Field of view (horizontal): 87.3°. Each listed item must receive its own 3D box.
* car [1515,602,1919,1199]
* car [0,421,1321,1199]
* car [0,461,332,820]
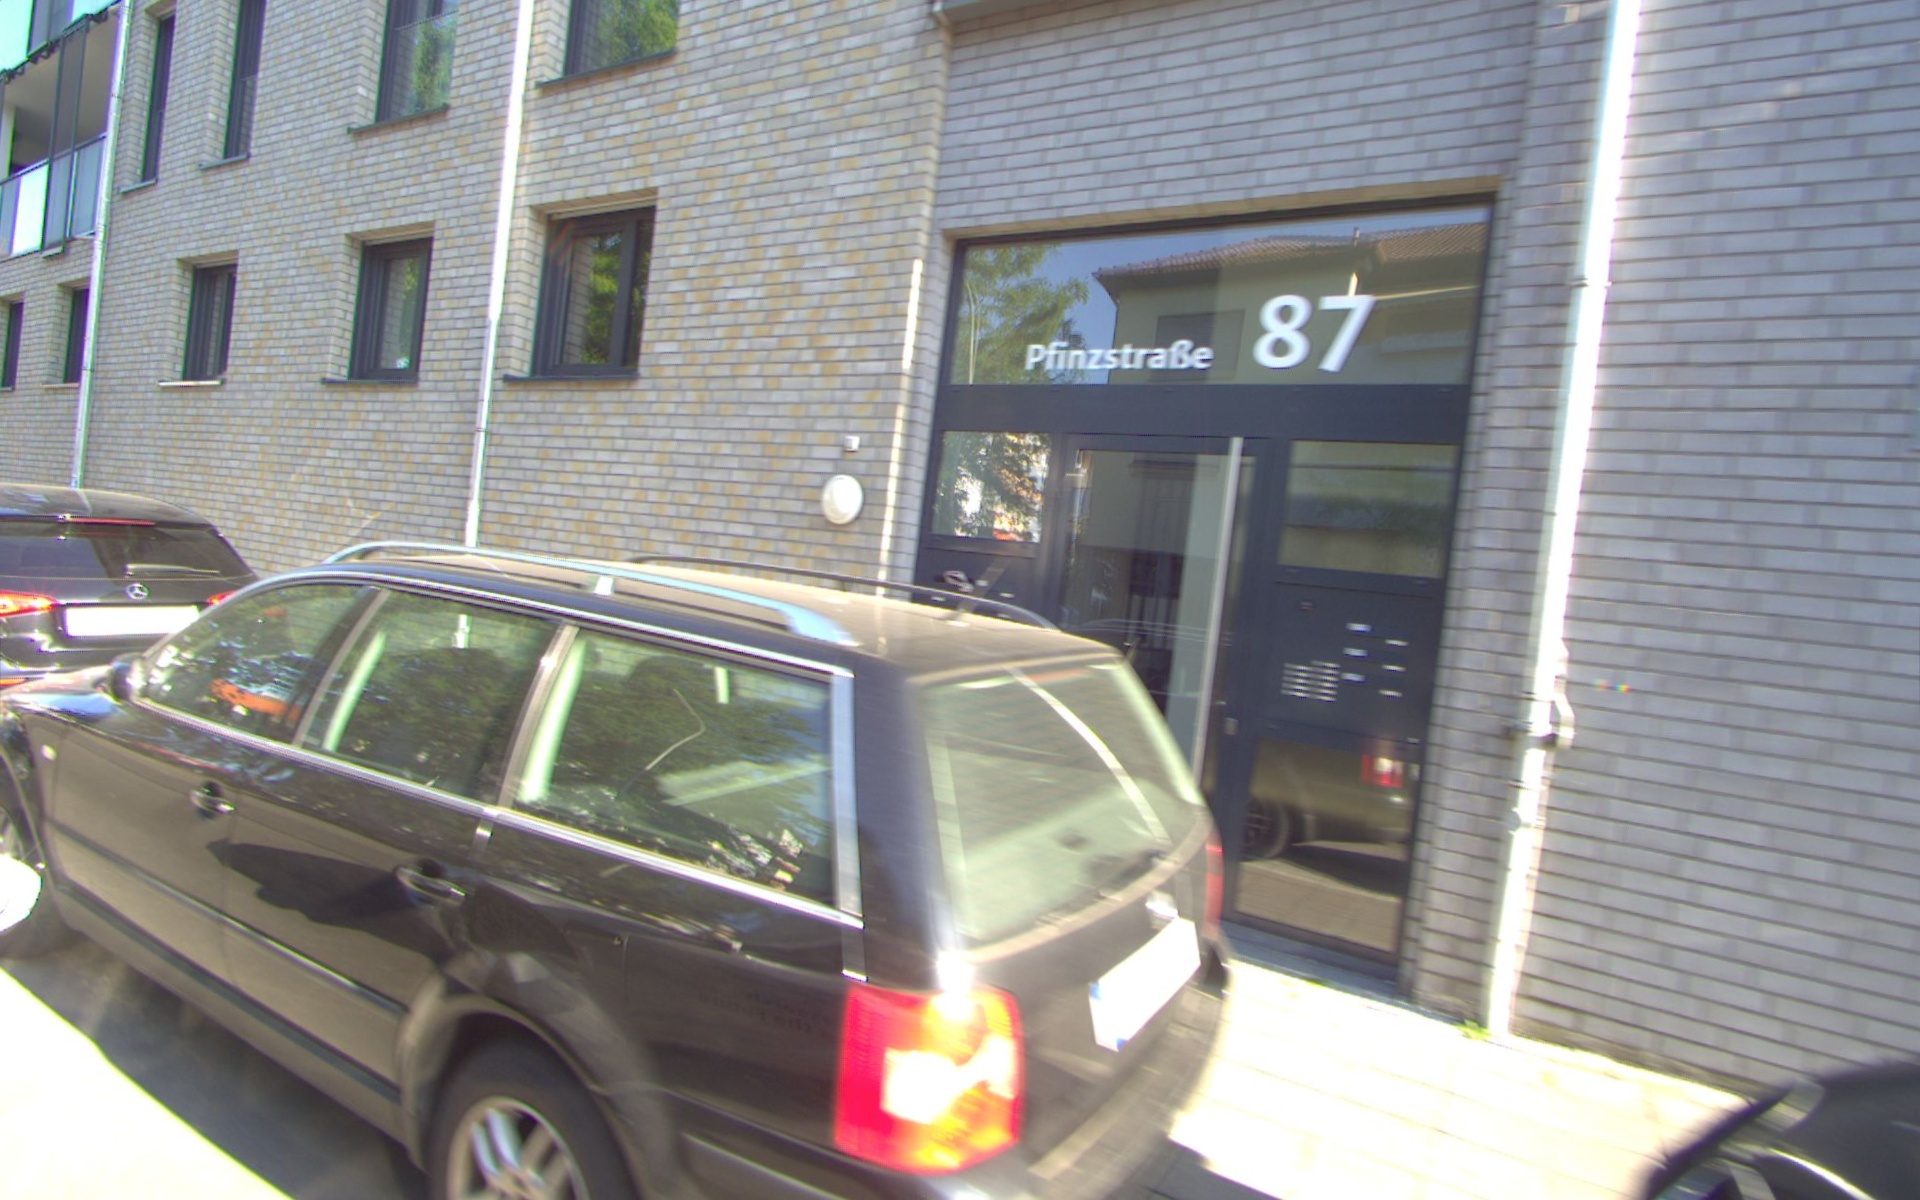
[{"bbox_3d":[2.731,1.071,0.420,4.267,1.614,1.651,8,4,29],"label":"car"},{"bbox_3d":[-1.578,0.500,3.207,4.757,1.756,1.668,8,2,30],"label":"car"},{"bbox_3d":[-5.902,-0.041,6.095,4.549,1.551,1.724,8,5,32],"label":"car"}]
